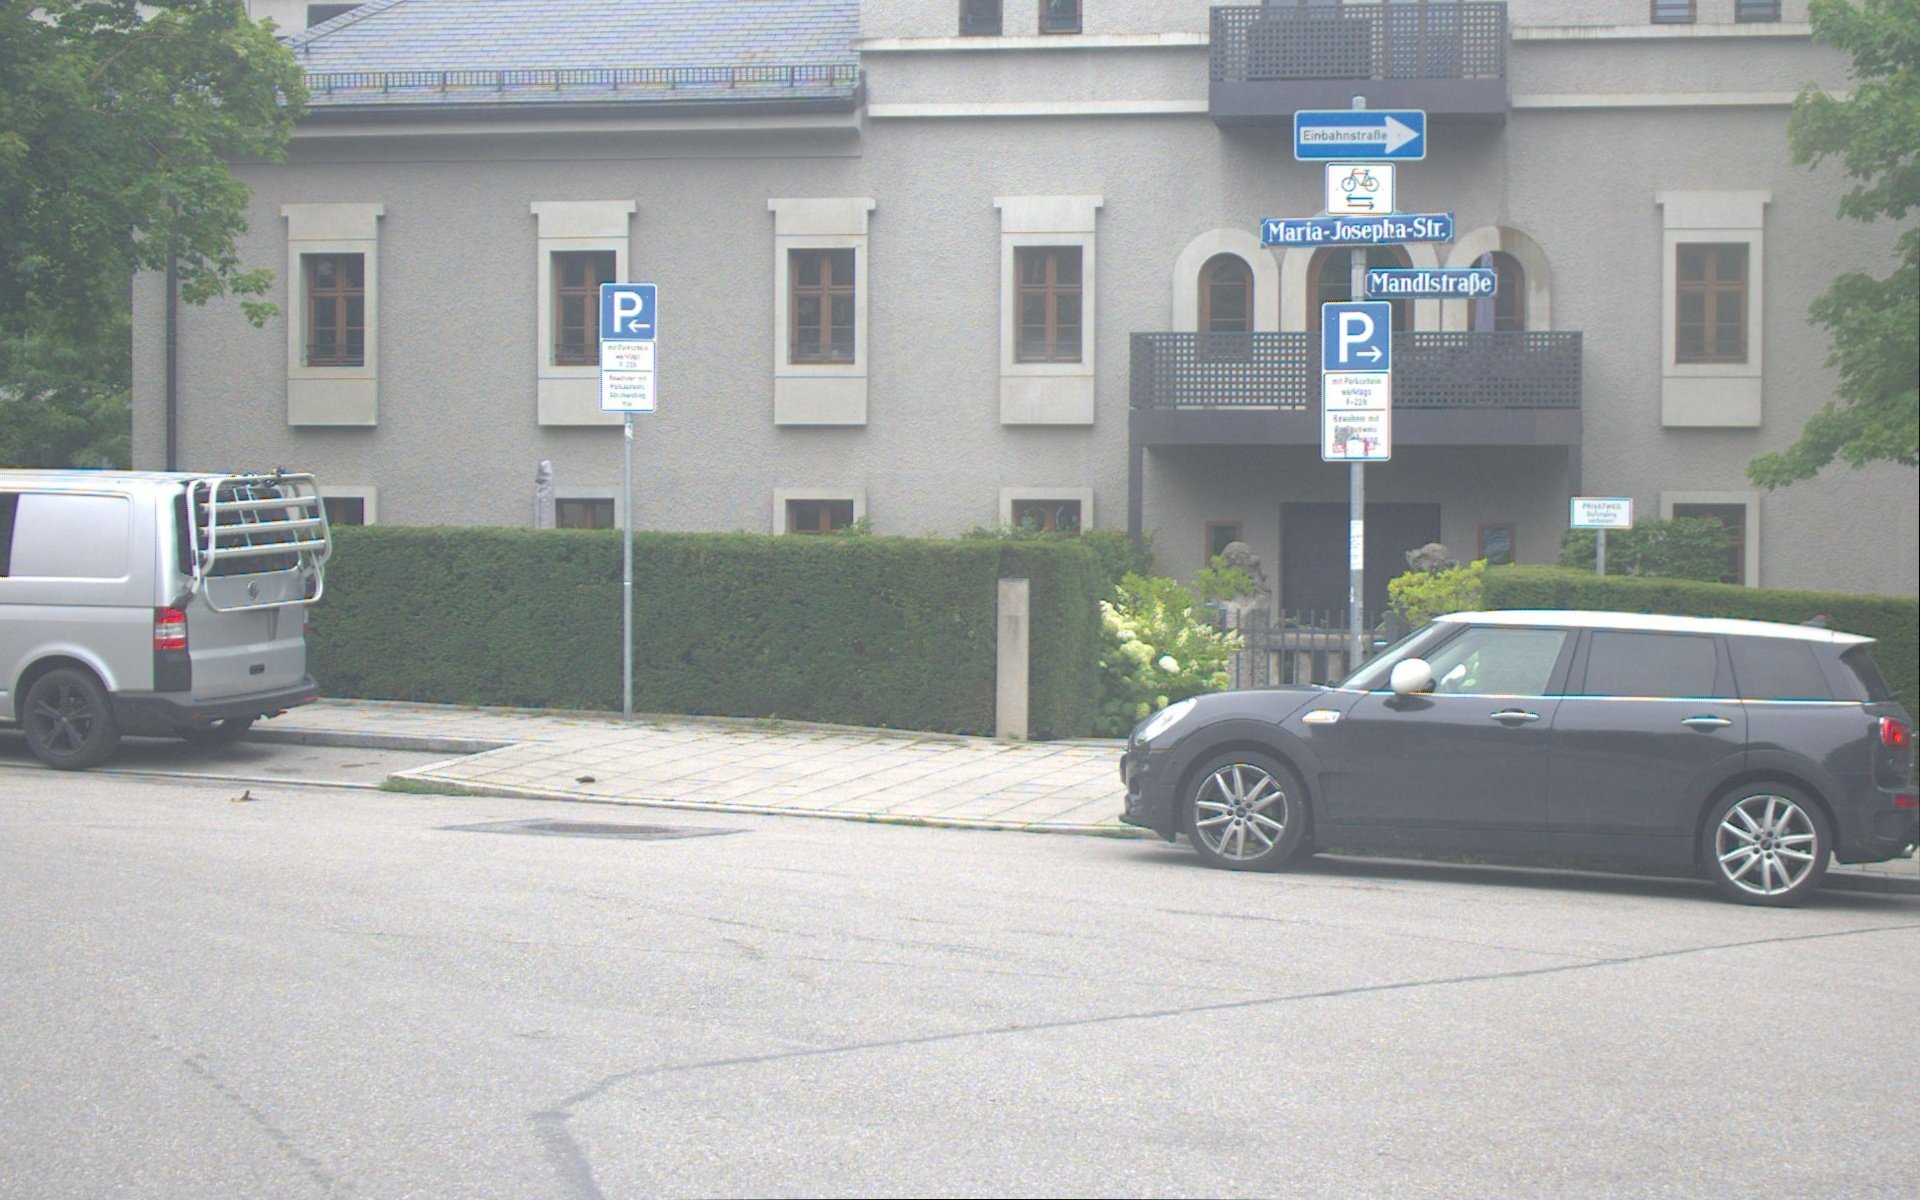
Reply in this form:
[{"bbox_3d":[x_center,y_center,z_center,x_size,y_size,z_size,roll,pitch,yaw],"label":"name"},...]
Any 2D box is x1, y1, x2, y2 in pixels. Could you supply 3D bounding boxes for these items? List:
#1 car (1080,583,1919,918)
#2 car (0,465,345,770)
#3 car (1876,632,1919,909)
[{"bbox_3d":[2.956,0.759,18.377,4.258,1.442,1.896,3,-1,14],"label":"car"},{"bbox_3d":[-7.035,0.024,24.244,5.061,1.898,1.939,2,4,22],"label":"car"},{"bbox_3d":[7.015,1.005,17.738,4.001,1.442,1.897,3,-1,0],"label":"car"}]
